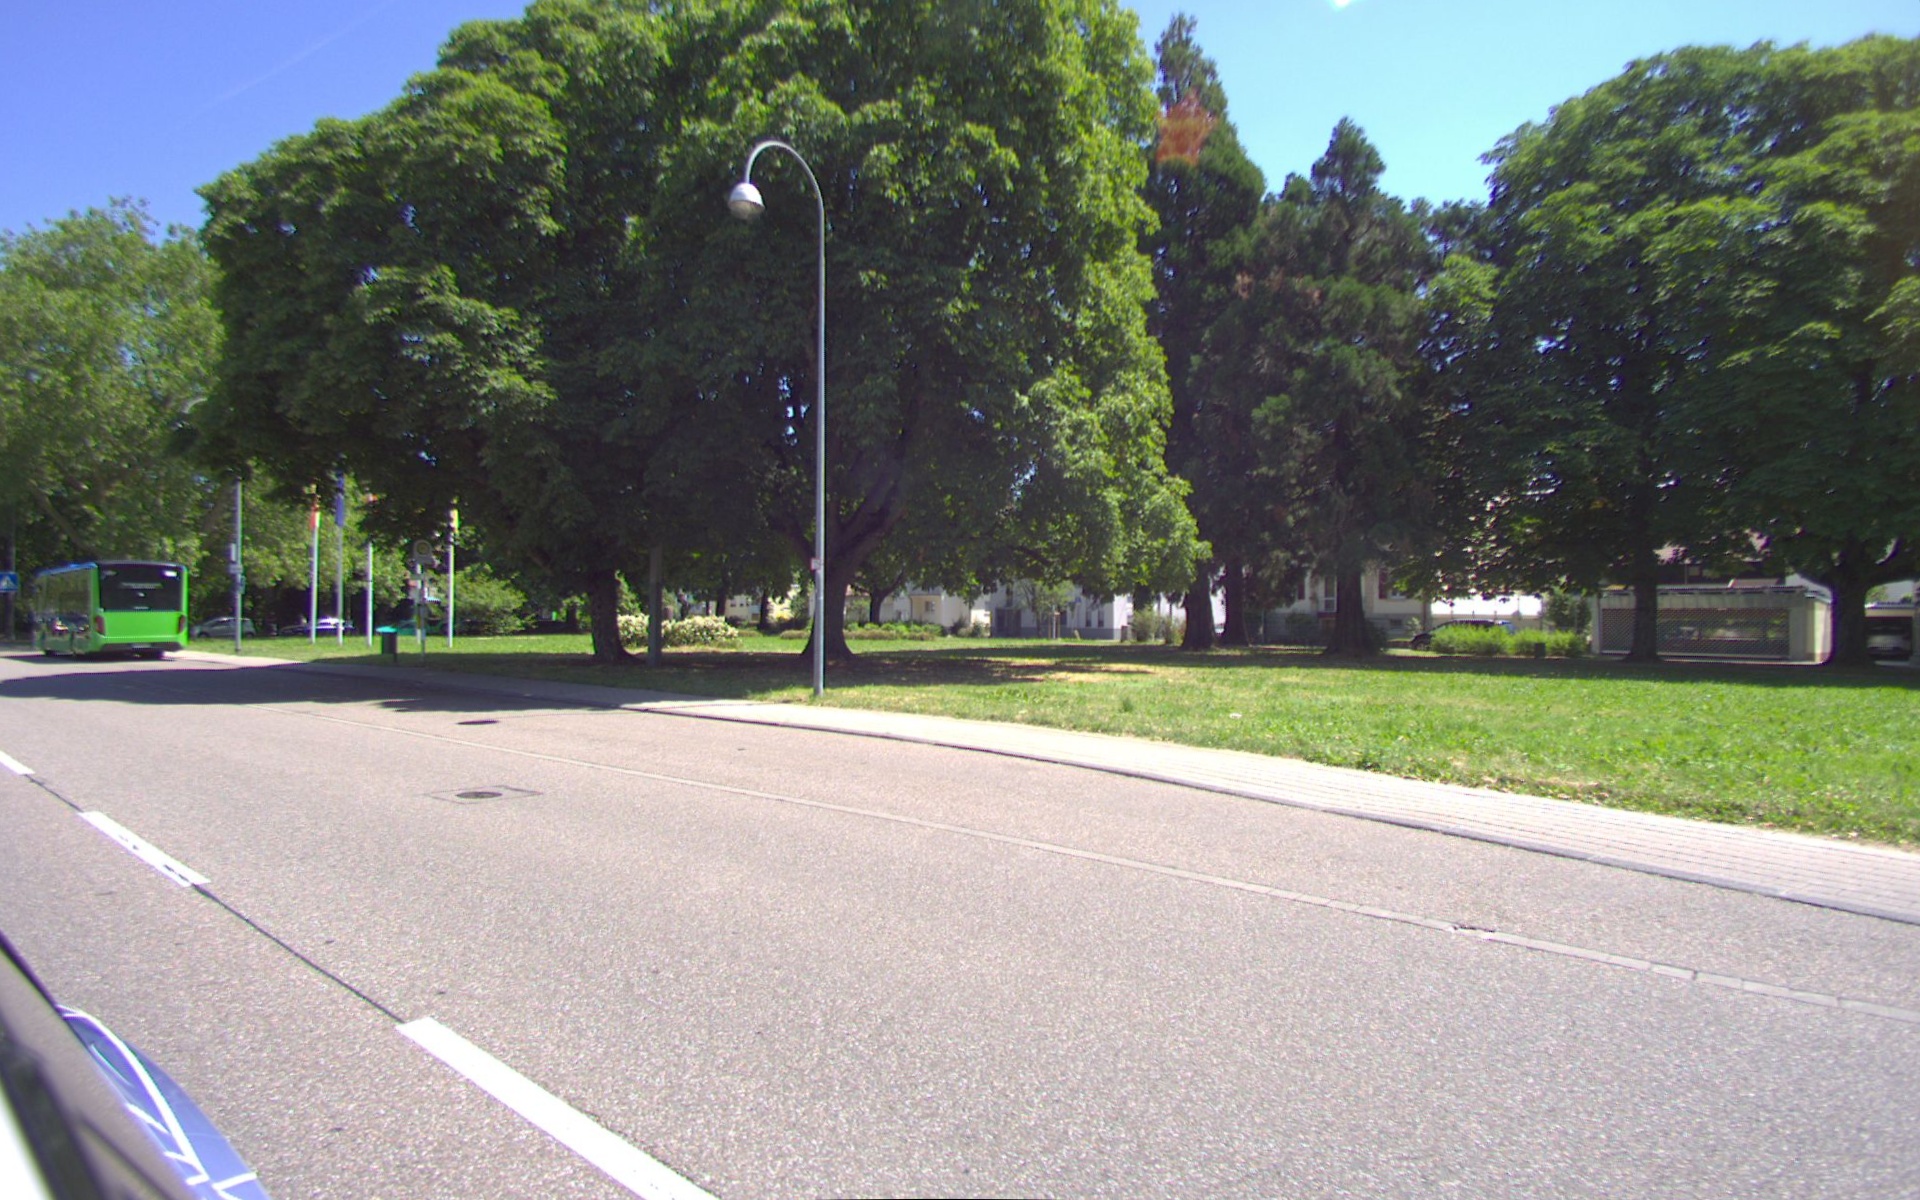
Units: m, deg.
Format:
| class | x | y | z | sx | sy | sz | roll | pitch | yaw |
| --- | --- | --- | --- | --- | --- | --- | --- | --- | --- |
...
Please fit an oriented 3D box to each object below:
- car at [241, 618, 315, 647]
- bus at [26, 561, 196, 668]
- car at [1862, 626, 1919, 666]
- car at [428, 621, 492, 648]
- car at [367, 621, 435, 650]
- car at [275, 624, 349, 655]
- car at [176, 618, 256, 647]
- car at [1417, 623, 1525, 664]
| class | x | y | z | sx | sy | sz | roll | pitch | yaw |
| --- | --- | --- | --- | --- | --- | --- | --- | --- | --- |
| car | -49.096 | 2.320 | 72.916 | 3.933 | 2.029 | 2.005 | 0 | -1 | -13 |
| bus | -30.910 | 0.546 | 36.572 | 11.849 | 3.328 | 2.778 | -1 | -2 | 41 |
| car | 40.876 | 1.955 | 43.845 | 3.935 | 1.597 | 2.004 | 1 | -1 | -38 |
| car | -38.259 | 2.607 | 77.559 | 1.999 | 2.029 | 3.946 | -1 | -2 | 40 |
| car | -40.952 | 2.578 | 74.197 | 1.999 | 2.029 | 3.946 | -1 | -2 | 40 |
| car | -44.552 | 2.672 | 69.629 | 2.000 | 2.029 | 3.943 | -1 | -2 | 43 |
| car | -48.442 | 2.083 | 65.944 | 2.000 | 1.817 | 3.943 | -1 | -2 | 43 |
| car | 23.619 | 1.955 | 46.923 | 1.967 | 1.792 | 4.010 | 1 | -1 | -35 |
